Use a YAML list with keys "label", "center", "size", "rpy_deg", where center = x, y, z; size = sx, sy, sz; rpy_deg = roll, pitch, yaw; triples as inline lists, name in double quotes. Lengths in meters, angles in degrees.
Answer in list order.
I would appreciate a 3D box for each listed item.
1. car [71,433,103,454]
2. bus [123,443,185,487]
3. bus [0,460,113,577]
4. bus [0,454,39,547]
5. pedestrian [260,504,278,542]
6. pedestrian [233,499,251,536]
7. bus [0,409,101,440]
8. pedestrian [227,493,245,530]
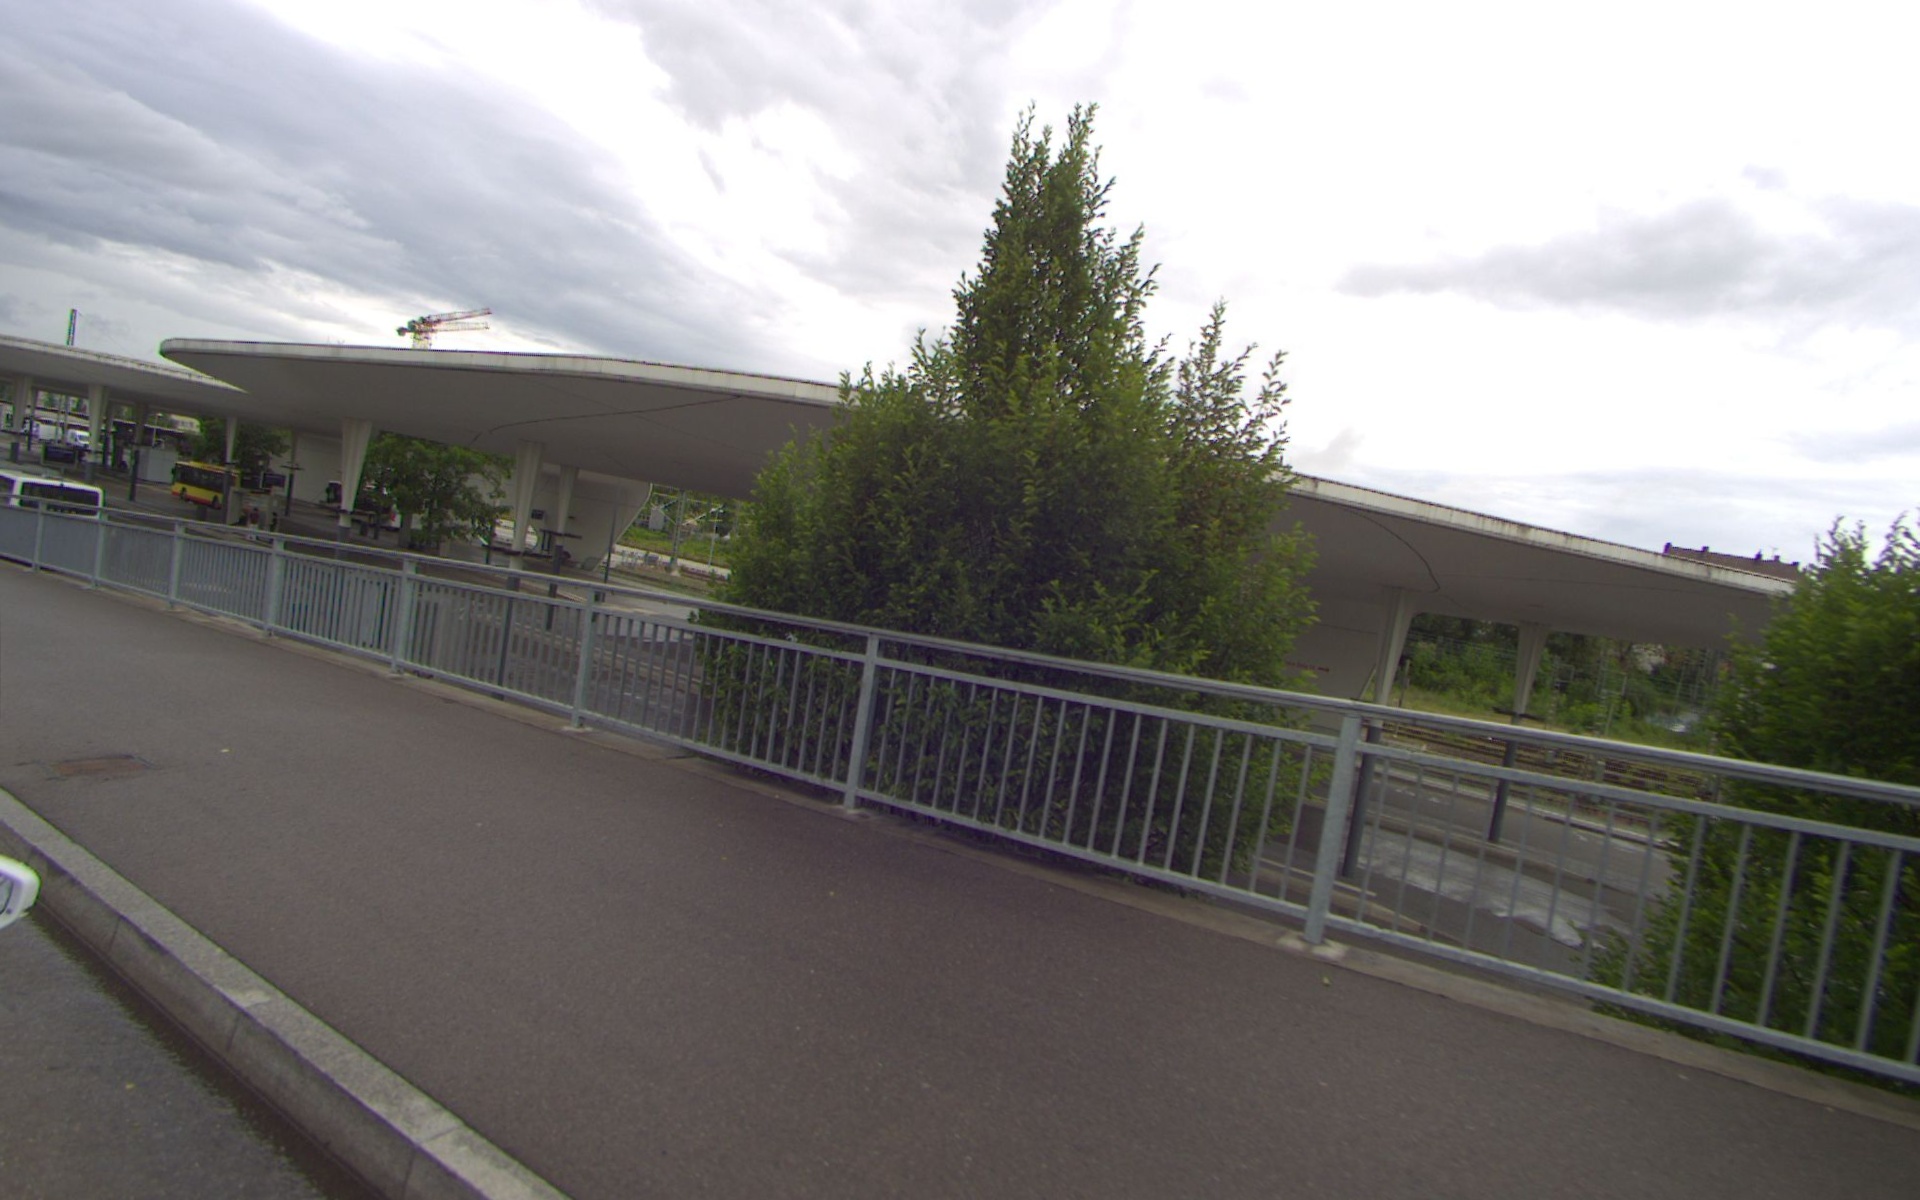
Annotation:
- label: "car"
  center: [-112.260, -20.109, 129.354]
  size: [3.935, 2.040, 1.994]
  rpy_deg: [10, 3, 34]
- label: "bus"
  center: [-74.578, -12.526, 93.033]
  size: [6.884, 3.252, 2.599]
  rpy_deg: [10, 3, 36]
- label: "bus"
  center: [-34.568, -3.206, 37.134]
  size: [6.951, 3.274, 2.652]
  rpy_deg: [12, 1, 31]
- label: "bus"
  center: [-40.446, -4.412, 40.731]
  size: [6.951, 3.279, 2.648]
  rpy_deg: [12, 4, 31]
- label: "pedestrian"
  center: [-38.394, -4.263, 55.898]
  size: [0.476, 2.040, 0.560]
  rpy_deg: [8, 3, 36]
- label: "pedestrian"
  center: [-41.371, -4.767, 57.957]
  size: [0.570, 2.040, 0.543]
  rpy_deg: [8, 3, 35]
- label: "bus"
  center: [-122.565, -23.620, 135.592]
  size: [2.134, 2.039, 10.178]
  rpy_deg: [8, 1, 31]
- label: "pedestrian"
  center: [-42.302, -5.155, 58.778]
  size: [0.570, 2.040, 0.543]
  rpy_deg: [8, 3, 35]
